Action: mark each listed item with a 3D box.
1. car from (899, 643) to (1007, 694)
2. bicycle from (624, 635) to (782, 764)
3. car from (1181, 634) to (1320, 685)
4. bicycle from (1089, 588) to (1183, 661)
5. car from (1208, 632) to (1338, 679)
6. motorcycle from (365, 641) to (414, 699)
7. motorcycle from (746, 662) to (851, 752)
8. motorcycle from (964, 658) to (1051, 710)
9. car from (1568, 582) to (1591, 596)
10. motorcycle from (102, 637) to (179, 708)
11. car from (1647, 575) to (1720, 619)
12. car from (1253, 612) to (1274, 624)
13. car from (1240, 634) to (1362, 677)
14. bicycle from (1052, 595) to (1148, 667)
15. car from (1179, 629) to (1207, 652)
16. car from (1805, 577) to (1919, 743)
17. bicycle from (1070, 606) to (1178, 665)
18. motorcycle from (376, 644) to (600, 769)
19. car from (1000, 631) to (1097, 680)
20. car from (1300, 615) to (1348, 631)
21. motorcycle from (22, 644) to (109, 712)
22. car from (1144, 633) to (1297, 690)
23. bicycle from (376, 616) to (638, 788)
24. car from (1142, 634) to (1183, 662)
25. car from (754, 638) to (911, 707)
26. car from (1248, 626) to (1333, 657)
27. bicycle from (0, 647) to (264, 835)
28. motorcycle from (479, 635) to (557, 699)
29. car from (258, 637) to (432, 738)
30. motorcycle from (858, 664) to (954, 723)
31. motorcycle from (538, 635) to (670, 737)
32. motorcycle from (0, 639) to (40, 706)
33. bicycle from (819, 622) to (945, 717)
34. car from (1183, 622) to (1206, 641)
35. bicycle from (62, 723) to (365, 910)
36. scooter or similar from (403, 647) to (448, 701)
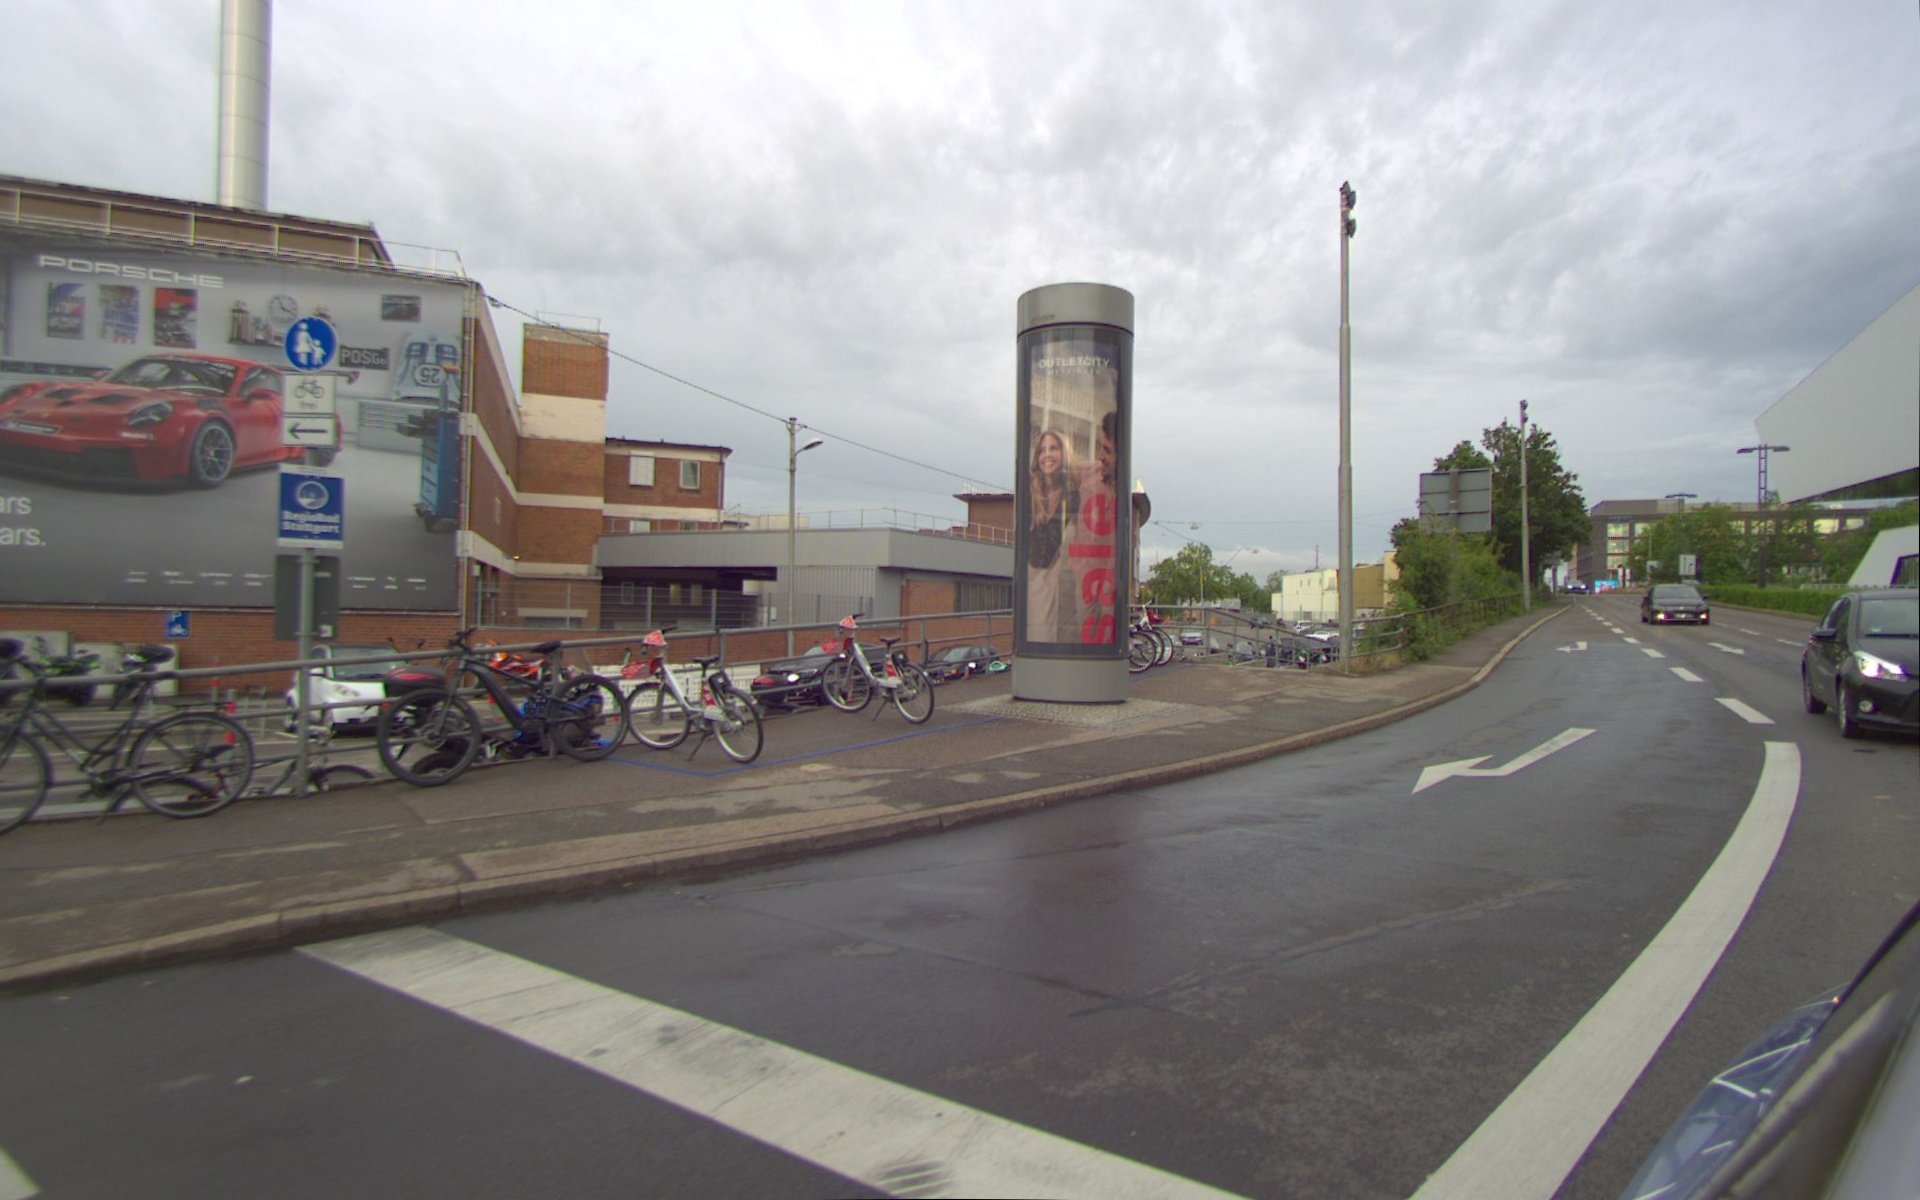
[{"bbox_3d":[-0.158,2.181,33.009,1.707,1.444,3.954,-1,-1,32],"label":"car"},{"bbox_3d":[-2.279,0.823,8.862,1.738,0.973,0.415,0,1,41],"label":"bicycle"},{"bbox_3d":[9.205,1.846,32.294,1.691,1.444,3.991,1,-1,-43],"label":"car"},{"bbox_3d":[2.995,0.401,17.232,1.523,1.169,0.449,1,2,16],"label":"bicycle"},{"bbox_3d":[10.707,1.874,34.811,1.691,1.444,3.991,1,-1,-43],"label":"car"},{"bbox_3d":[-12.576,1.515,22.292,0.575,1.166,1.717,-2,0,-42],"label":"motorcycle"},{"bbox_3d":[-1.946,1.274,12.372,0.399,0.901,1.525,-1,1,30],"label":"motorcycle"},{"bbox_3d":[0.910,1.596,19.329,1.596,0.933,0.419,-2,0,20],"label":"motorcycle"},{"bbox_3d":[67.419,-1.198,110.195,1.800,1.457,4.262,1,-1,26],"label":"car"},{"bbox_3d":[-16.061,1.388,19.877,0.533,1.254,1.811,1,-1,-18],"label":"motorcycle"},{"bbox_3d":[26.359,-0.123,36.967,1.735,1.493,4.026,-1,0,30],"label":"car"},{"bbox_3d":[36.651,2.178,122.279,1.692,1.444,3.991,0,-1,8],"label":"car"},{"bbox_3d":[12.704,2.021,37.865,1.691,1.444,3.991,1,-1,-43],"label":"car"},{"bbox_3d":[2.196,0.483,15.938,1.435,1.087,0.443,1,2,2],"label":"bicycle"},{"bbox_3d":[15.407,2.647,67.030,1.694,1.444,4.213,0,-1,11],"label":"car"},{"bbox_3d":[10.436,0.529,10.829,1.683,1.526,3.963,-1,0,34],"label":"car"},{"bbox_3d":[2.661,0.572,16.473,1.671,0.933,0.486,0,1,-3],"label":"bicycle"},{"bbox_3d":[-4.127,0.892,8.906,1.711,0.906,0.548,-2,1,-35],"label":"motorcycle"},{"bbox_3d":[3.478,2.077,38.946,1.772,1.688,4.449,-1,-1,34],"label":"car"},{"bbox_3d":[32.297,2.026,89.837,3.947,1.444,1.710,0,-1,19],"label":"car"},{"bbox_3d":[-16.801,1.436,19.049,0.467,1.134,1.813,-2,0,-16],"label":"motorcycle"},{"bbox_3d":[7.403,1.696,29.038,1.691,1.444,3.991,1,-1,-43],"label":"car"},{"bbox_3d":[-3.663,0.766,8.363,0.399,1.189,1.986,0,1,41],"label":"bicycle"},{"bbox_3d":[11.337,2.659,56.620,1.711,1.407,3.974,-1,-1,19],"label":"car"},{"bbox_3d":[-3.349,1.887,27.394,1.875,1.571,4.457,-1,-1,31],"label":"car"},{"bbox_3d":[16.685,2.065,51.111,3.956,1.444,1.706,-1,-1,24],"label":"car"},{"bbox_3d":[-5.664,0.906,6.673,1.708,1.097,0.348,-1,1,-24],"label":"bicycle"},{"bbox_3d":[-10.377,1.556,23.814,0.520,1.350,1.651,-2,0,32],"label":"motorcycle"},{"bbox_3d":[-10.987,1.452,17.980,3.983,1.508,1.544,-1,-1,41],"label":"car"},{"bbox_3d":[-0.931,1.583,17.304,1.599,0.933,0.478,-2,0,26],"label":"motorcycle"},{"bbox_3d":[-3.585,0.840,10.276,0.431,0.901,1.249,0,1,34],"label":"motorcycle"},{"bbox_3d":[-18.217,1.373,19.125,0.533,1.195,1.716,-2,0,-18],"label":"motorcycle"},{"bbox_3d":[-0.875,0.724,11.011,1.611,0.933,0.415,0,0,45],"label":"bicycle"},{"bbox_3d":[19.130,2.569,82.807,1.694,1.444,3.986,0,-1,11],"label":"car"},{"bbox_3d":[-5.329,1.522,7.332,1.708,1.097,0.348,-1,1,-24],"label":"bicycle"},{"bbox_3d":[-12.033,1.645,22.764,0.495,1.110,1.635,-2,0,-42],"label":"scooter or similar"}]
